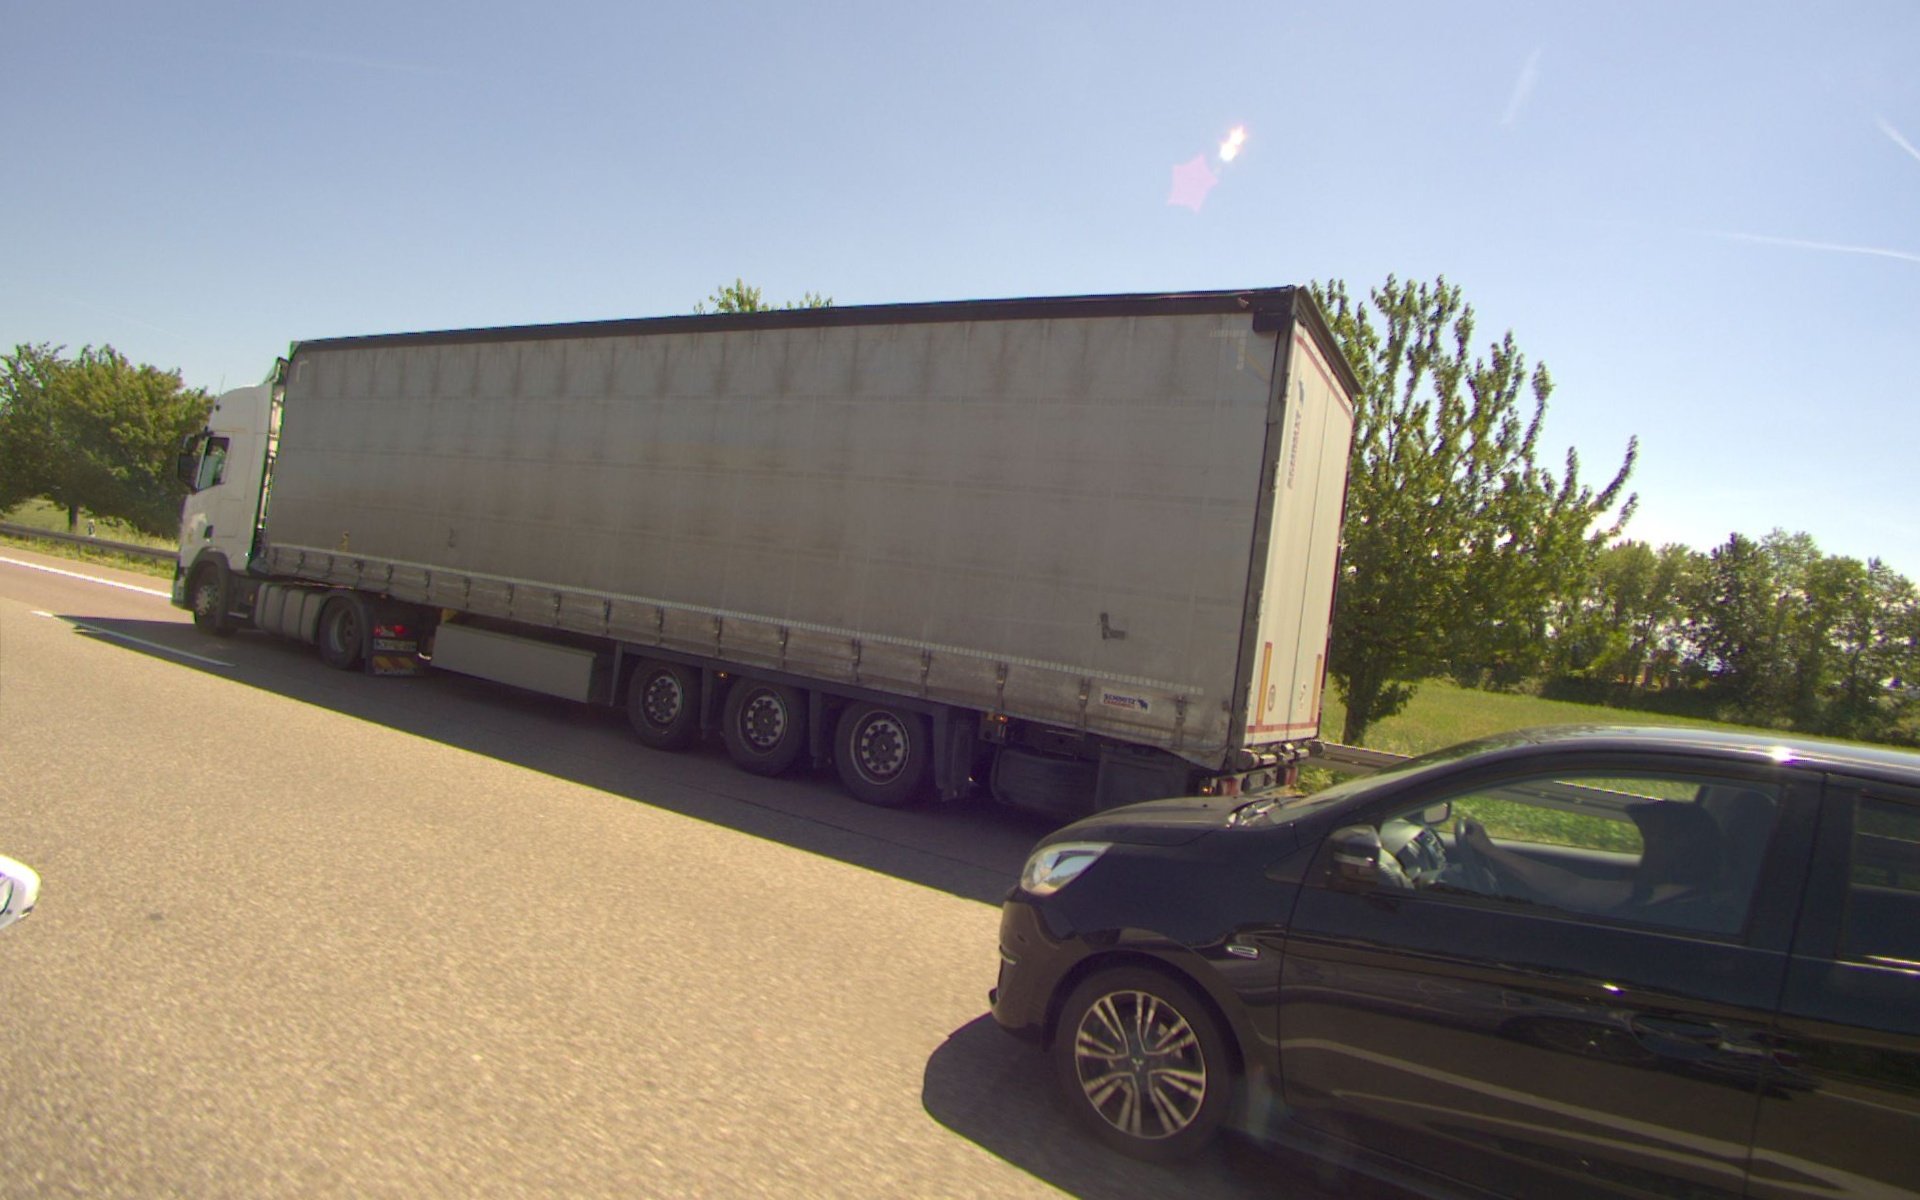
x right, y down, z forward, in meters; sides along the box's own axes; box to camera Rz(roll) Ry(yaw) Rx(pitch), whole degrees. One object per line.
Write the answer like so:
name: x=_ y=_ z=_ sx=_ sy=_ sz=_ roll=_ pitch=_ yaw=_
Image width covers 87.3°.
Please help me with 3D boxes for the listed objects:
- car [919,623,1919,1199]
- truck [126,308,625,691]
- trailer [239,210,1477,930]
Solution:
car: x=1.818 y=1.066 z=3.166 sx=3.375 sy=1.490 sz=1.691 roll=6 pitch=-2 yaw=30
truck: x=-8.632 y=-1.381 z=14.598 sx=7.074 sy=4.354 sz=2.816 roll=6 pitch=-2 yaw=32
trailer: x=-2.574 y=-0.707 z=10.874 sx=14.016 sy=4.354 sz=2.816 roll=6 pitch=-2 yaw=31
